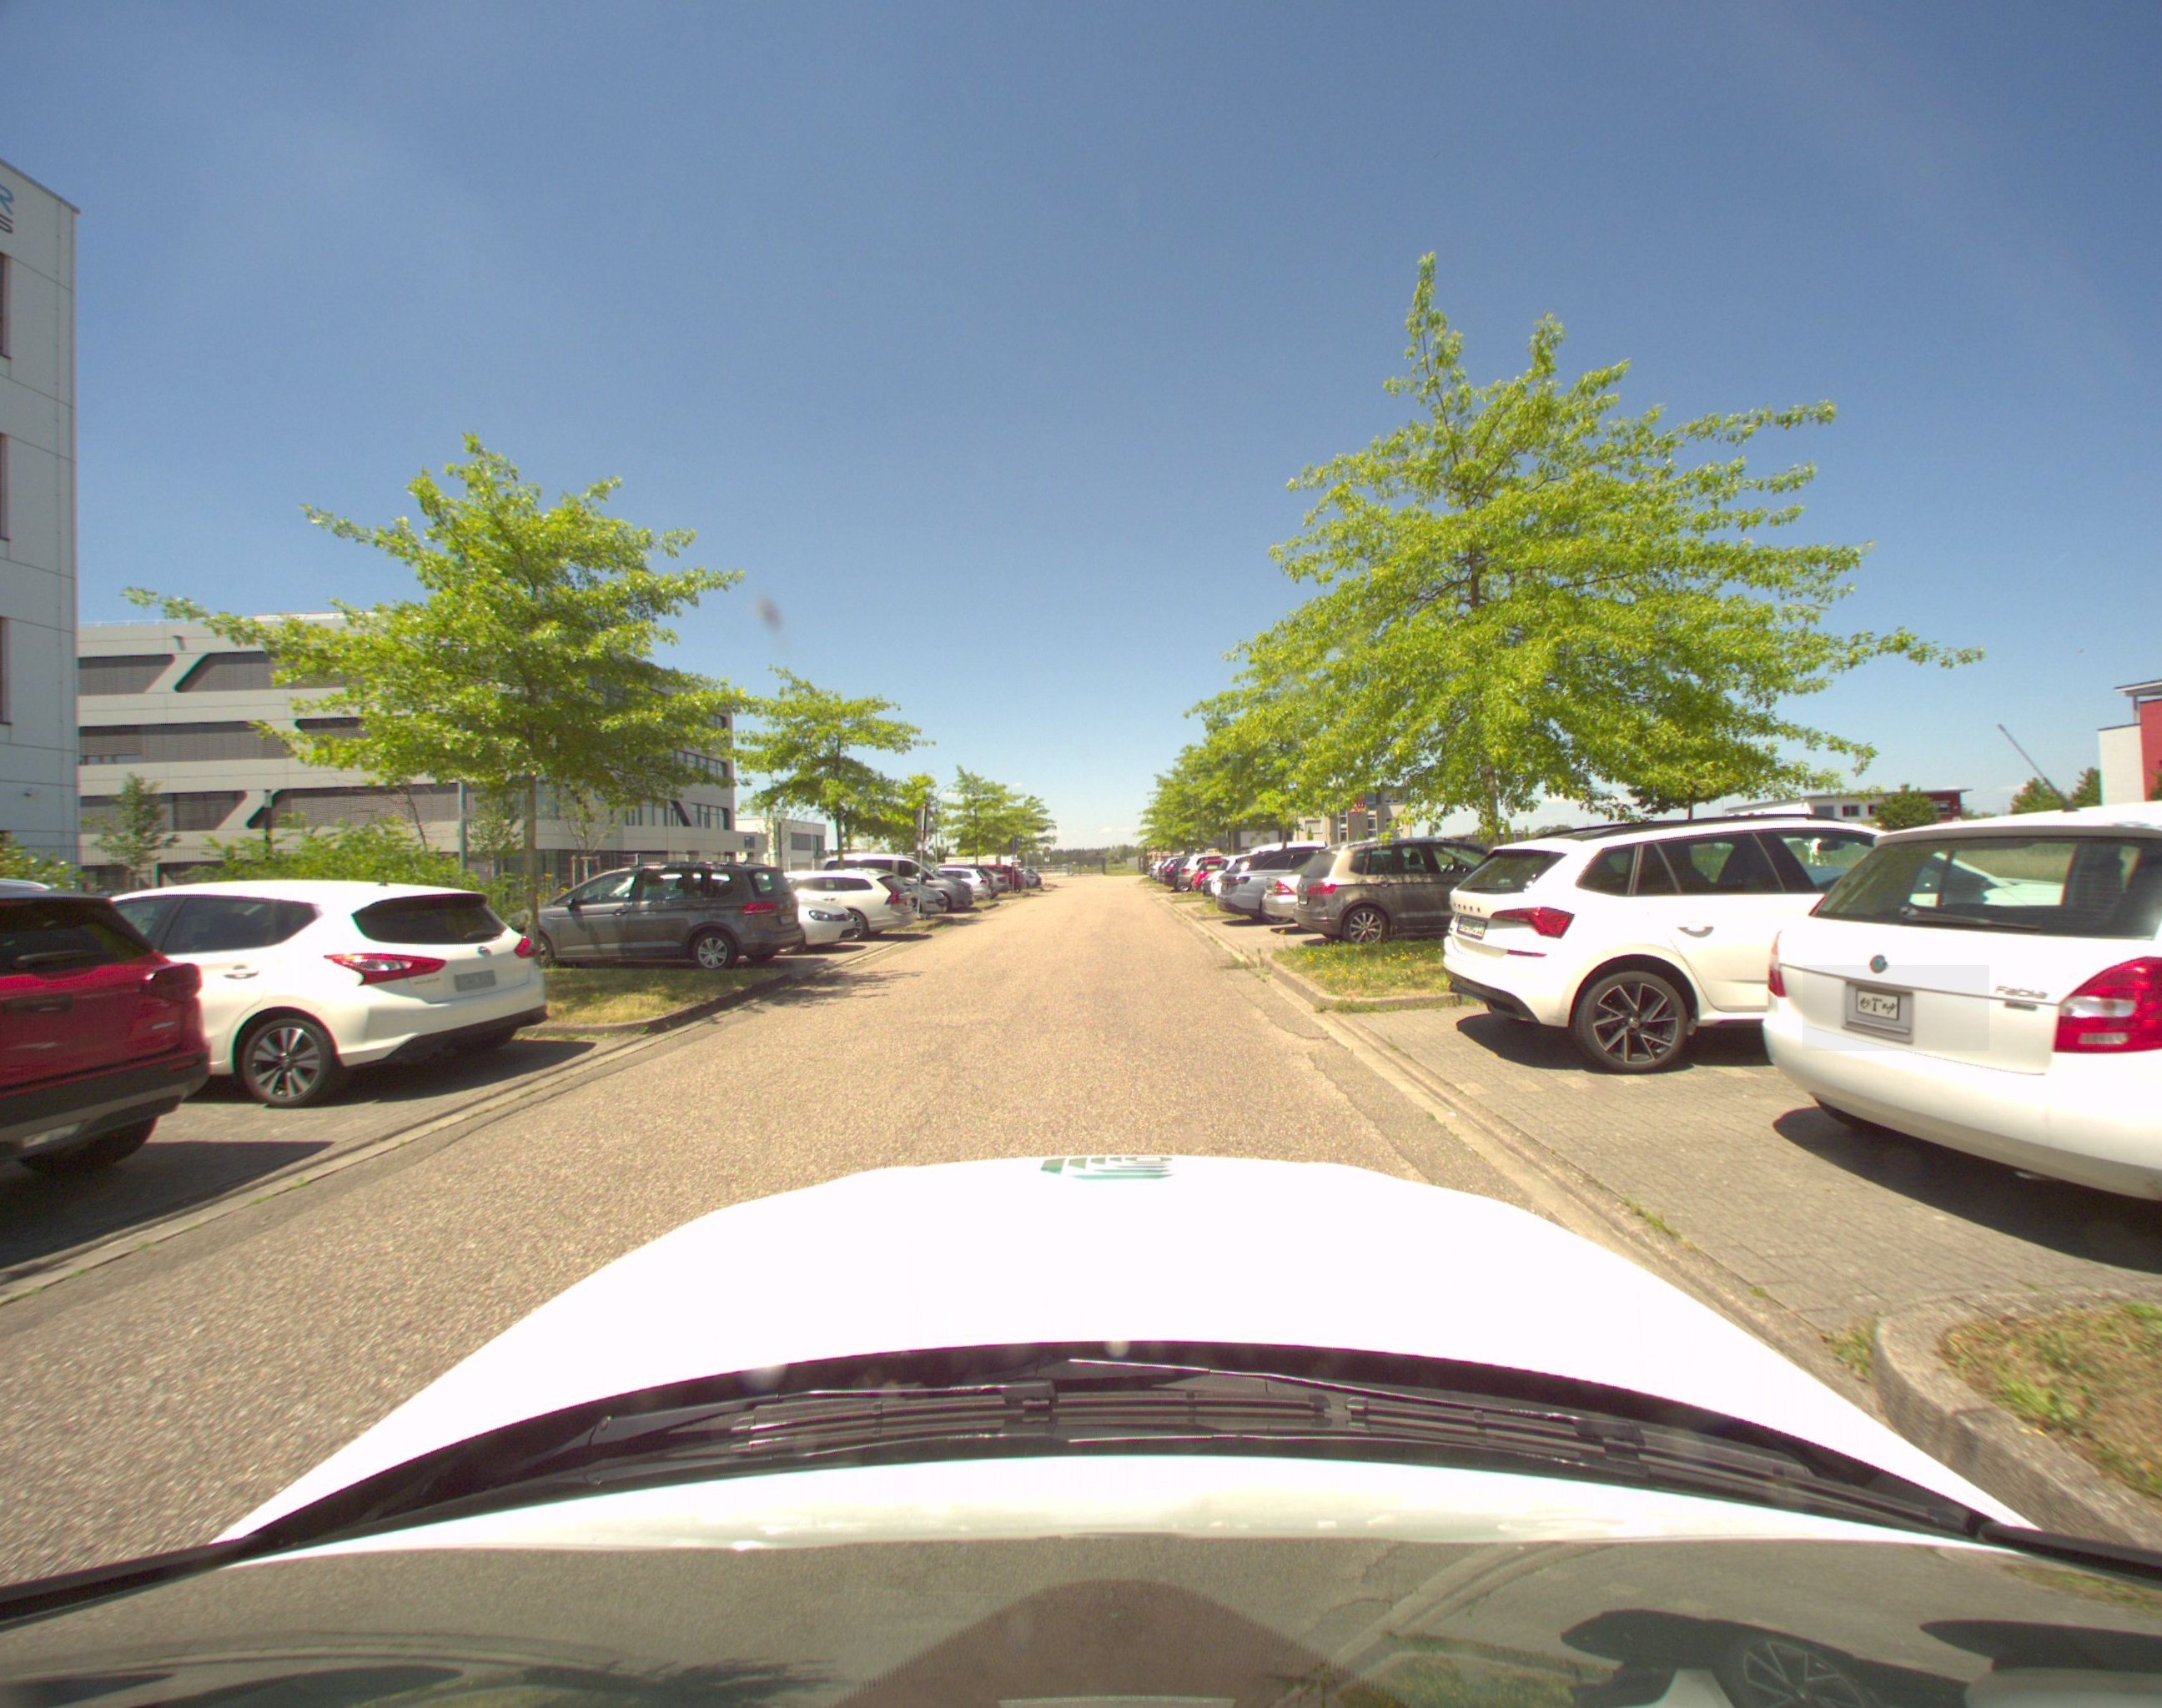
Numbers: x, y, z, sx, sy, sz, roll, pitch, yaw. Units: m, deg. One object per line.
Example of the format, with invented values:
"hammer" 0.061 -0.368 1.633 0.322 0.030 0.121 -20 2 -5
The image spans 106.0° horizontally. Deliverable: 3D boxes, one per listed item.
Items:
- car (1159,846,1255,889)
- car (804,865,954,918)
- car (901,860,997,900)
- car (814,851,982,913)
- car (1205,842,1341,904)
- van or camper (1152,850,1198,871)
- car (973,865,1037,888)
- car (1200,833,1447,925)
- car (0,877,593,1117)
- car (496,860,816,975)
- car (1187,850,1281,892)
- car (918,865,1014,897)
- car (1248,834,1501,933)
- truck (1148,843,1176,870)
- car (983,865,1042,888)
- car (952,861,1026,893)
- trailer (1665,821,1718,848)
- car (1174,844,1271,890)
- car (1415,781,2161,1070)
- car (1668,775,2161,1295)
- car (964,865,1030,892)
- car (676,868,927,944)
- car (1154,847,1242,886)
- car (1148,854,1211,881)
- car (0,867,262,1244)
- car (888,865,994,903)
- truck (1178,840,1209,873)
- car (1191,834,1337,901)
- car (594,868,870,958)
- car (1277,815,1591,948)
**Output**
"car" 5.860 0.639 38.262 4.159 1.696 1.782 -4 -1 0
"car" -5.898 1.072 24.132 3.953 1.484 1.764 0 -1 2
"car" -5.742 1.122 35.861 3.978 1.678 1.775 0 -1 -4
"car" -6.005 0.905 27.108 5.048 1.892 1.999 -1 -1 3
"car" 5.618 0.558 24.176 3.617 1.503 1.677 -4 -1 2
"van or camper" 10.616 0.747 92.213 4.919 2.163 2.000 -3 0 1
"car" -5.002 1.474 54.005 4.065 1.424 1.872 -1 -1 -2
"car" 5.141 0.519 17.691 4.704 1.561 1.912 -4 -1 -2
"car" -6.453 0.987 6.384 4.154 1.513 1.809 0 1 3
"car" -6.523 0.941 12.821 4.103 1.634 1.728 -1 0 0
"car" 6.210 0.680 33.318 3.445 1.417 1.755 -4 -1 1
"car" -5.347 1.255 38.240 4.177 1.480 1.713 0 -1 2
"car" 5.304 0.529 15.108 4.031 1.453 1.646 -4 -1 2
"truck" 9.905 0.339 100.022 2.717 3.062 6.937 -3 -1 1
"car" -4.682 1.577 56.379 3.916 1.521 1.784 -1 -1 -1
"car" -5.000 1.241 44.499 3.723 1.621 1.817 -1 -1 2
"trailer" 66.217 -2.085 88.319 3.974 2.600 2.233 -3 -1 0
"car" 6.113 0.557 35.548 3.860 1.678 1.783 -4 -1 2
"car" 4.622 0.449 5.734 3.814 1.553 1.783 -3 0 7
"car" 4.945 0.436 3.263 3.820 1.524 1.780 -3 -1 1
"car" -4.809 1.400 47.109 3.647 1.508 1.730 -1 -1 -2
"car" -5.829 1.057 17.438 4.700 1.447 1.856 -1 0 -2
"car" 6.345 0.692 44.565 4.435 1.768 1.992 -4 -1 -1
"car" 7.091 0.964 58.929 4.263 1.644 1.851 -4 -1 2
"car" -6.514 0.888 3.674 3.827 1.592 1.727 -1 0 -1
"car" -5.617 1.195 33.078 4.025 1.461 1.603 0 -1 -1
"truck" 14.282 0.294 104.004 2.911 3.929 6.937 -3 -1 1
"car" 5.958 0.444 26.899 4.385 1.830 1.797 -4 -1 2
"car" -6.289 1.037 15.022 4.298 1.473 1.727 -1 0 -1
"car" 5.286 0.411 12.605 4.031 1.625 1.694 -4 -1 2
